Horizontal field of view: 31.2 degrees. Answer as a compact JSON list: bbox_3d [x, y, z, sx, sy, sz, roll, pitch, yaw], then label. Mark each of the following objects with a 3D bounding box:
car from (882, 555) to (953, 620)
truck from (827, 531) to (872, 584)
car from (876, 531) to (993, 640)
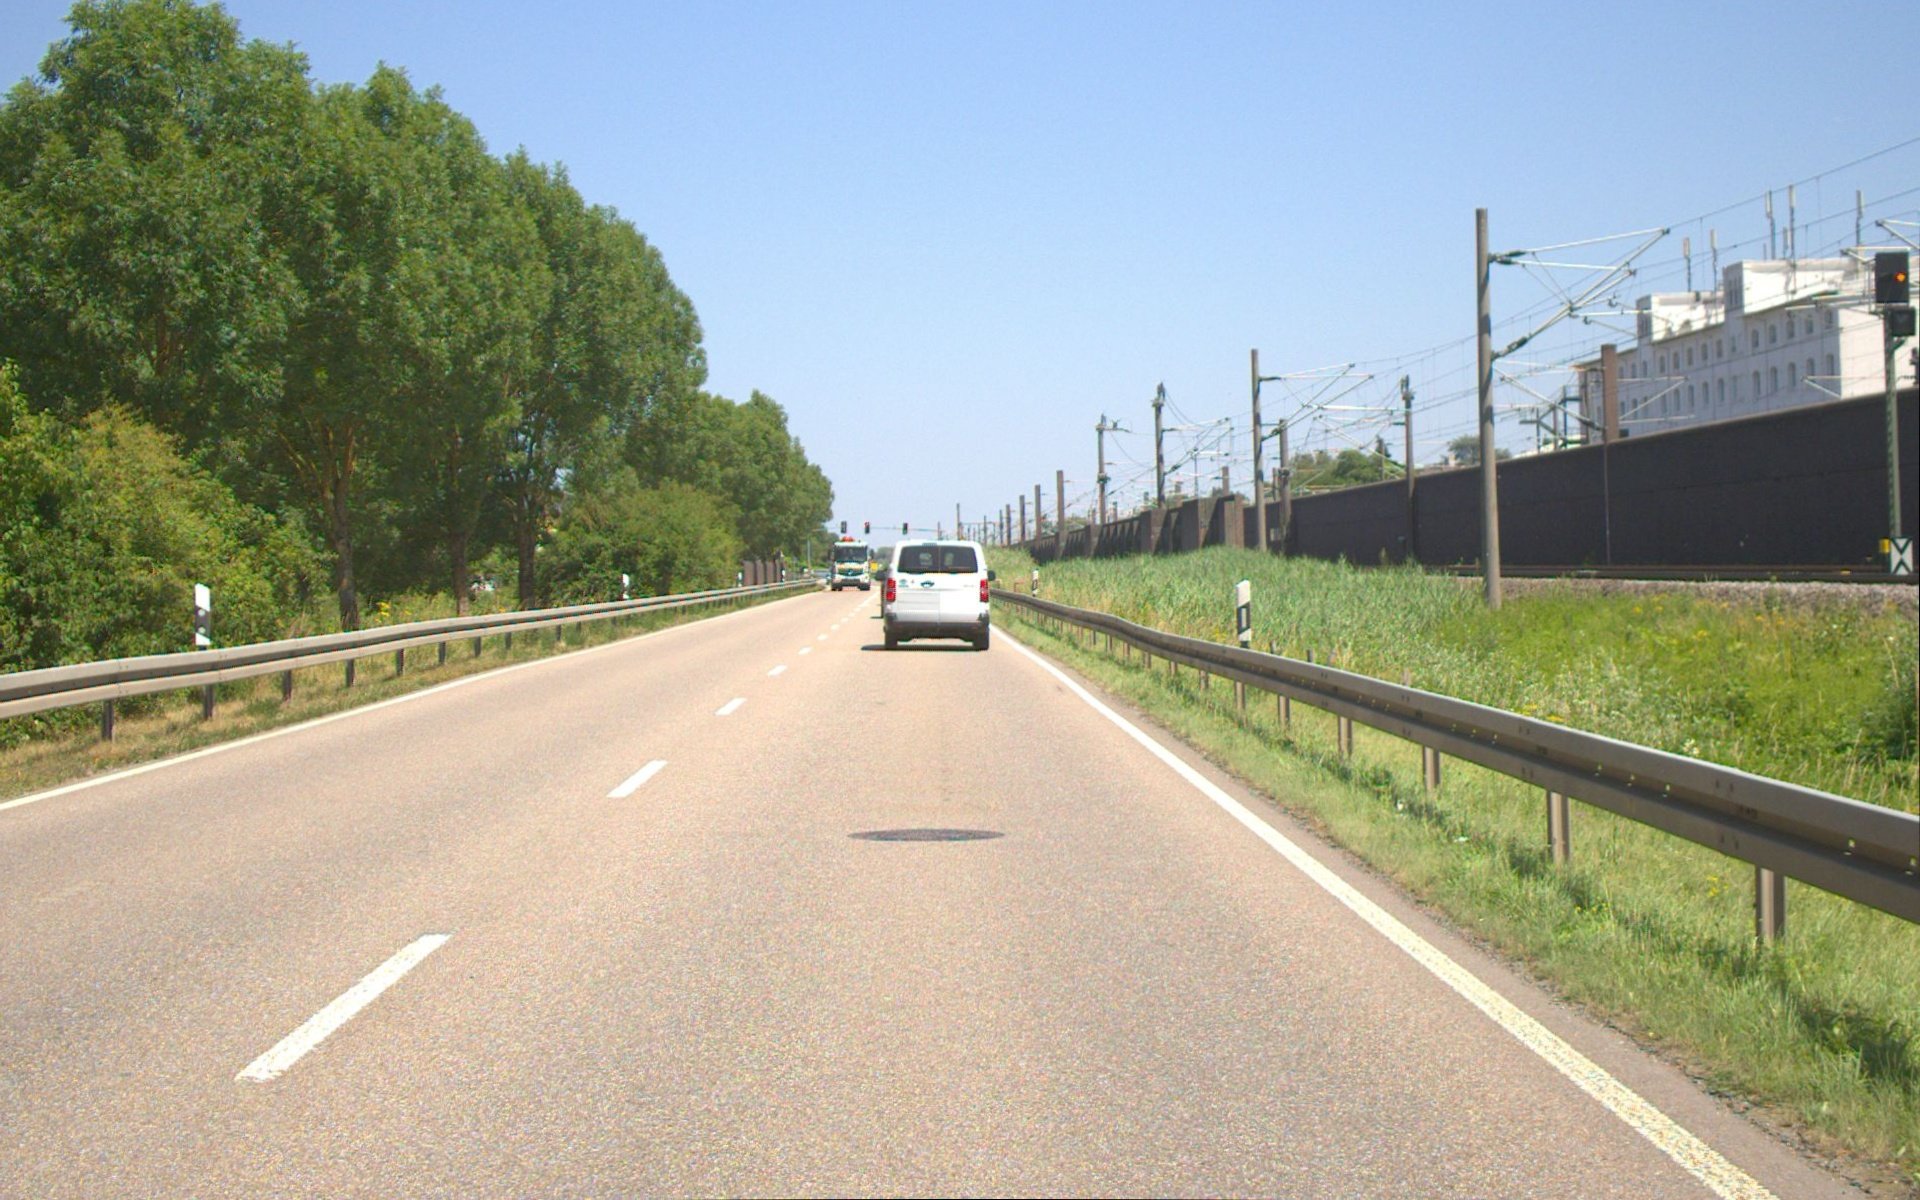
[{"bbox_3d":[-1.236,-0.382,99.723,1.993,1.844,4.000,1,1,-1],"label":"car"},{"bbox_3d":[-7.167,-2.770,224.381,2.783,3.393,7.989,1,1,-1],"label":"truck"},{"bbox_3d":[-0.465,-0.270,61.038,1.993,1.844,4.000,1,1,-1],"label":"car"}]
